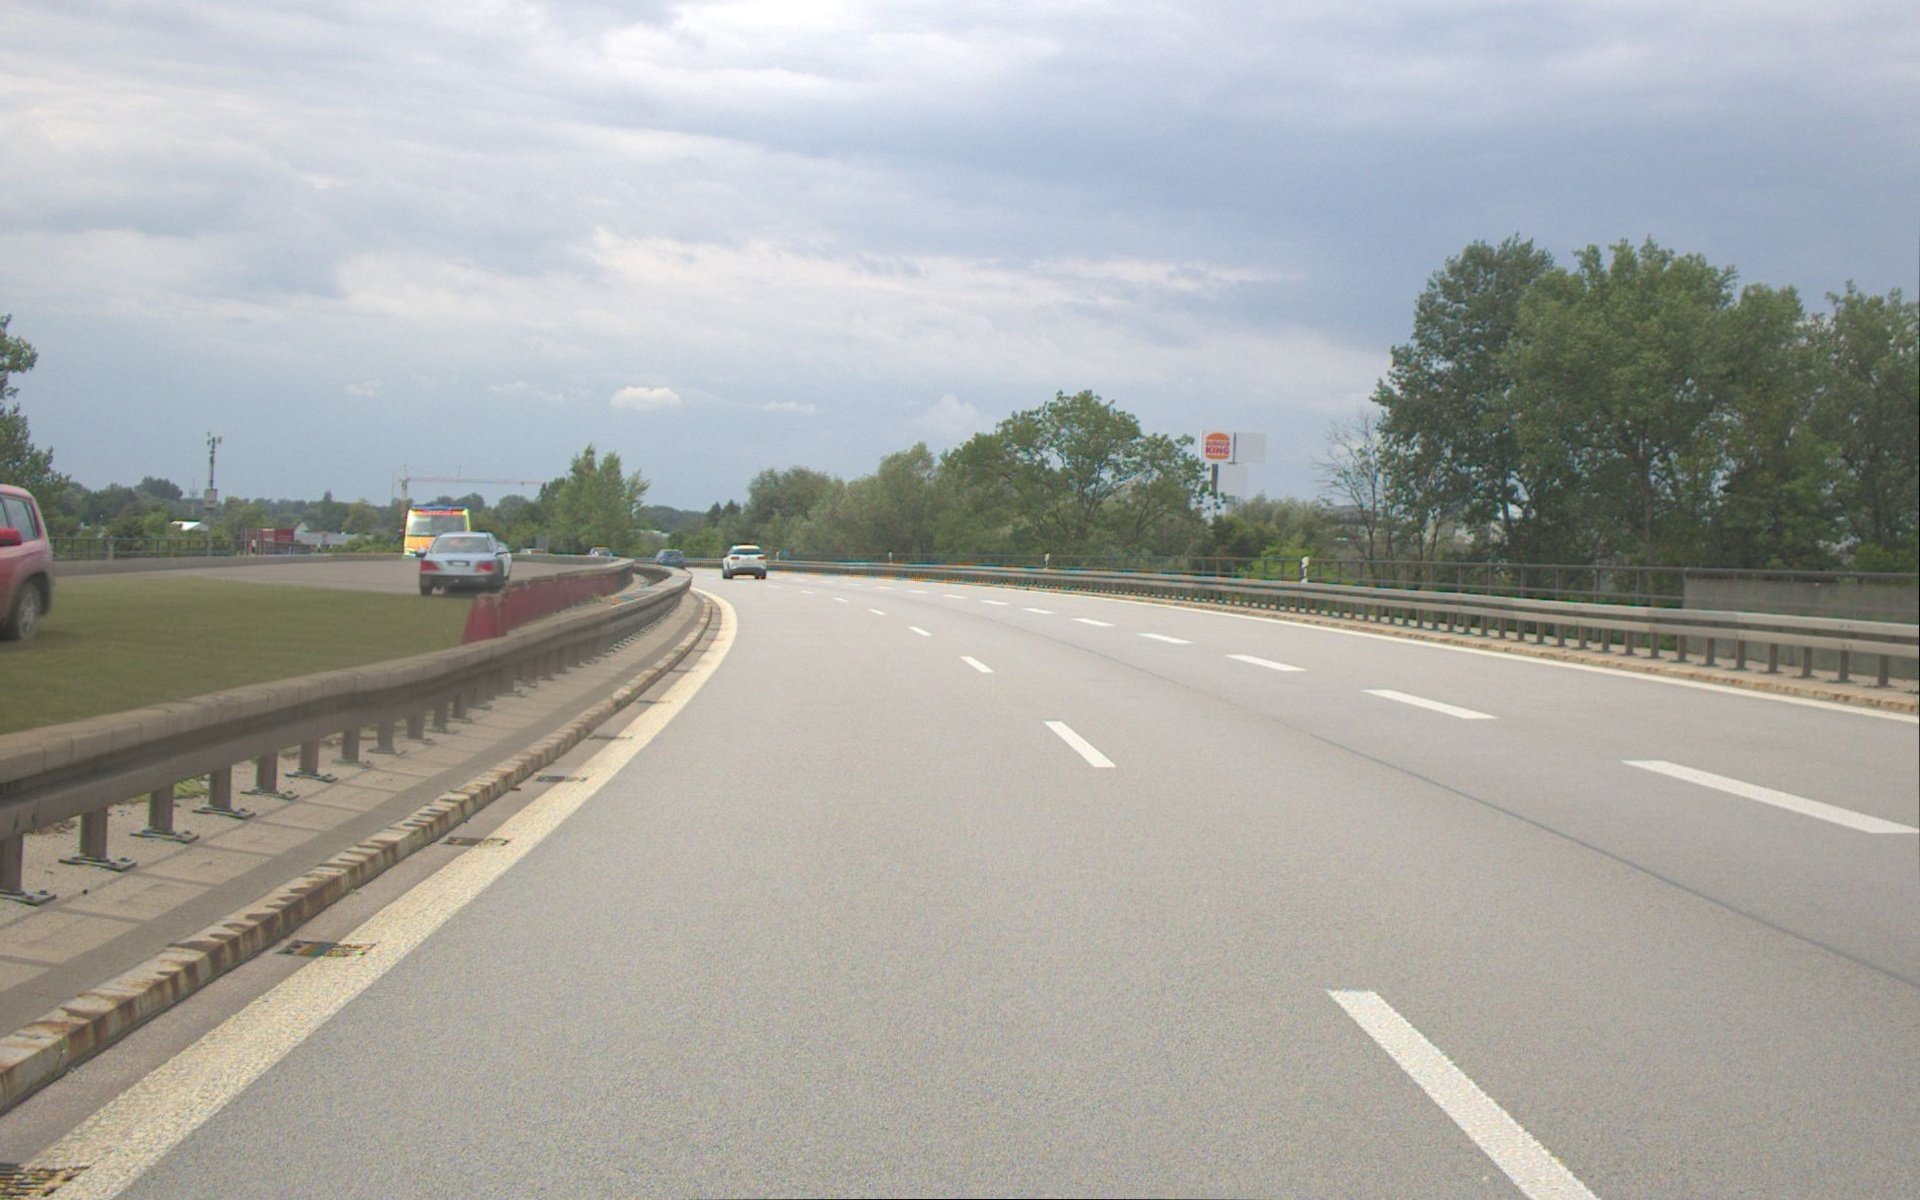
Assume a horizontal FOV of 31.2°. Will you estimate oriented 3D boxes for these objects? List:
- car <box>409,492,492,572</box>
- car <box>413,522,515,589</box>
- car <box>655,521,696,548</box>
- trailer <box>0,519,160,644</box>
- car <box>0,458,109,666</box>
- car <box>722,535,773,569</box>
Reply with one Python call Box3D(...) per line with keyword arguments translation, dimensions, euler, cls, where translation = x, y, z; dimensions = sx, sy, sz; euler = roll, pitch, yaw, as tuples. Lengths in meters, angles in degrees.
Box3D(translation=(-15.358, -2.053, 103.931), dimensions=(1.993, 2.285, 6.399), euler=(1, 1, -4), cls="car")
Box3D(translation=(-11.083, -1.013, 77.067), dimensions=(1.728, 1.401, 4.250), euler=(2, 1, -1), cls="car")
Box3D(translation=(-17.669, -4.063, 213.431), dimensions=(1.892, 1.634, 4.623), euler=(1, 1, -13), cls="car")
Box3D(translation=(-8.720, -0.202, 32.586), dimensions=(1.559, 1.121, 3.451), euler=(0, 1, -2), cls="trailer")
Box3D(translation=(-8.501, -0.351, 28.551), dimensions=(1.812, 1.635, 4.569), euler=(2, 1, -2), cls="car")
Box3D(translation=(-10.451, -2.364, 168.841), dimensions=(1.902, 1.634, 4.397), euler=(1, 1, -11), cls="car")
